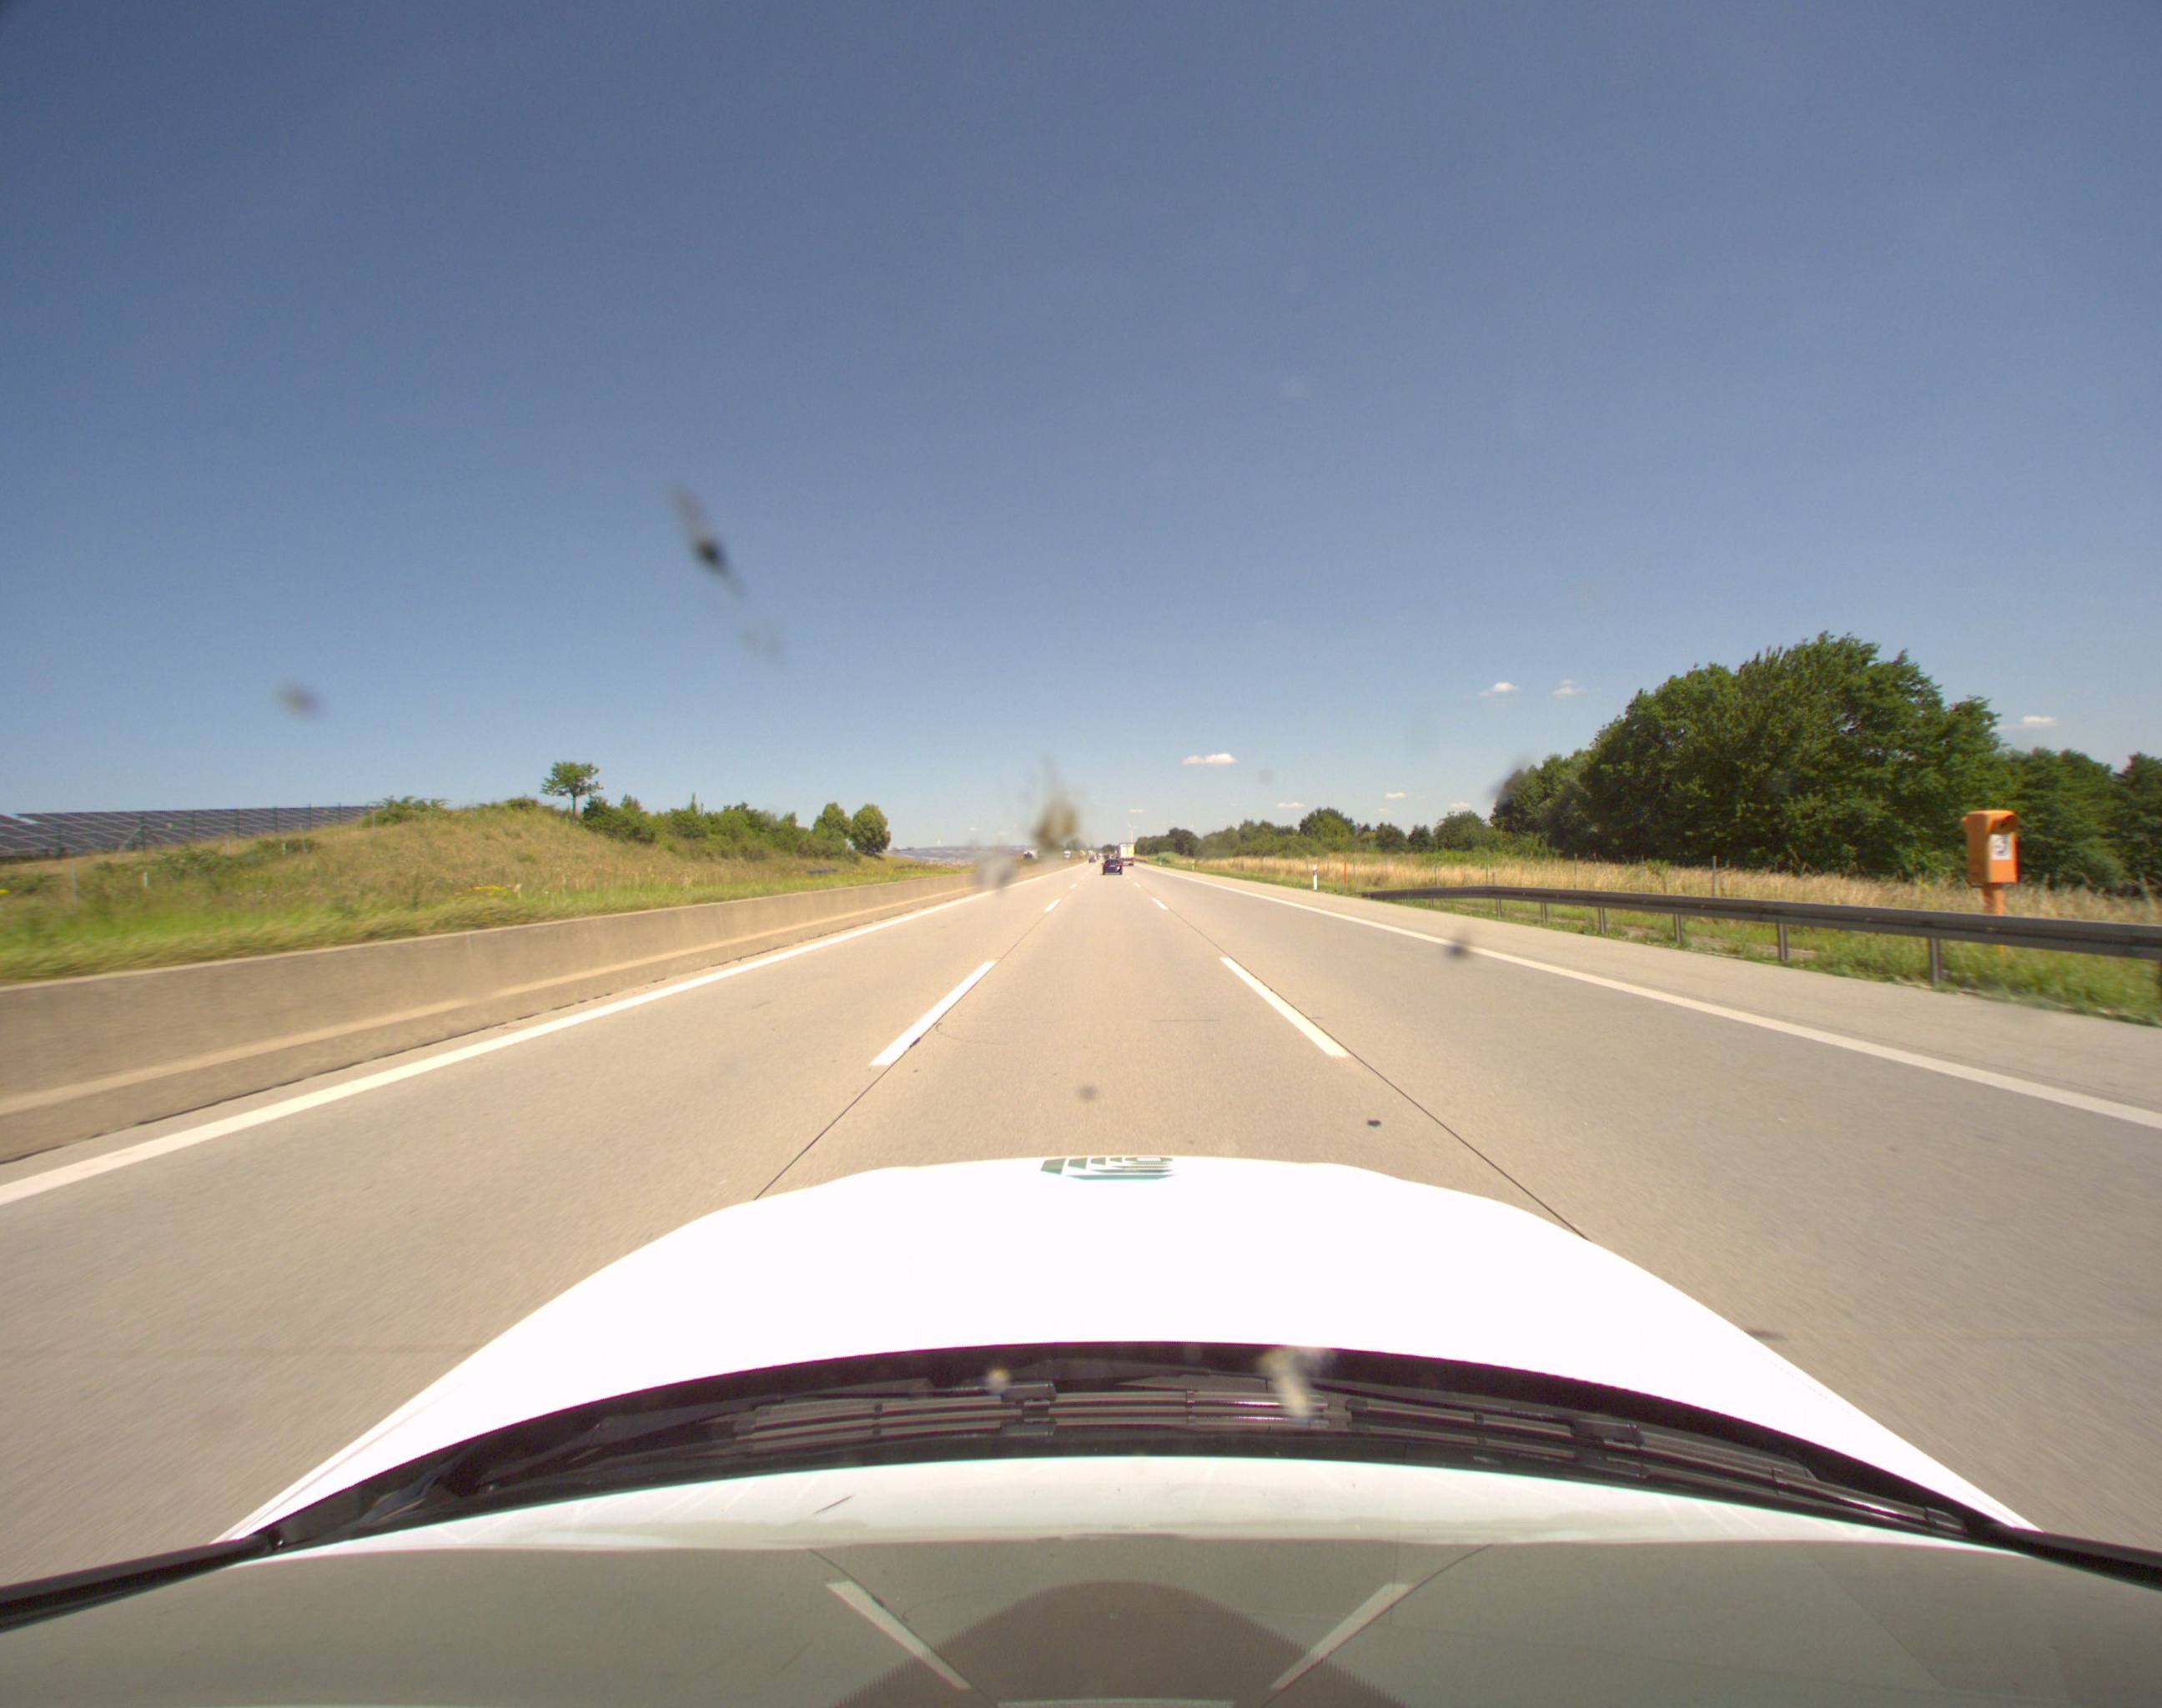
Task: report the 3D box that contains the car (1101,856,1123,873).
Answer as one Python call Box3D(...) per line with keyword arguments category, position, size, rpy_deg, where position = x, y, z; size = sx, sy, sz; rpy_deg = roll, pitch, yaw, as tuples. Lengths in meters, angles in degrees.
Box3D(category="car", position=(2.757, 0.944, 73.877), size=(1.903, 1.492, 4.193), rpy_deg=(0, 0, 1))

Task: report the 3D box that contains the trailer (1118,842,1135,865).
Box3D(category="trailer", position=(8.234, -0.028, 149.202), size=(2.842, 4.042, 12.717), rpy_deg=(0, 0, 2))

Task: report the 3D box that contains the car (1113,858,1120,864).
Box3D(category="car", position=(10.915, 2.214, 251.157), size=(1.818, 1.907, 4.006), rpy_deg=(-1, -1, 6))

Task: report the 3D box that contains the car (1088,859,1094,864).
Box3D(category="car", position=(2.641, 1.904, 215.729), size=(1.649, 1.196, 3.961), rpy_deg=(2, 0, 2))

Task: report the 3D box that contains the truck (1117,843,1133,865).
Box3D(category="truck", position=(8.450, -0.026, 156.757), size=(2.802, 4.088, 5.800), rpy_deg=(0, 0, 1))

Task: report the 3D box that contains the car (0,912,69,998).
Box3D(category="car", position=(-19.360, 1.770, 13.107), size=(1.491, 1.376, 3.629), rpy_deg=(2, 0, 1))
